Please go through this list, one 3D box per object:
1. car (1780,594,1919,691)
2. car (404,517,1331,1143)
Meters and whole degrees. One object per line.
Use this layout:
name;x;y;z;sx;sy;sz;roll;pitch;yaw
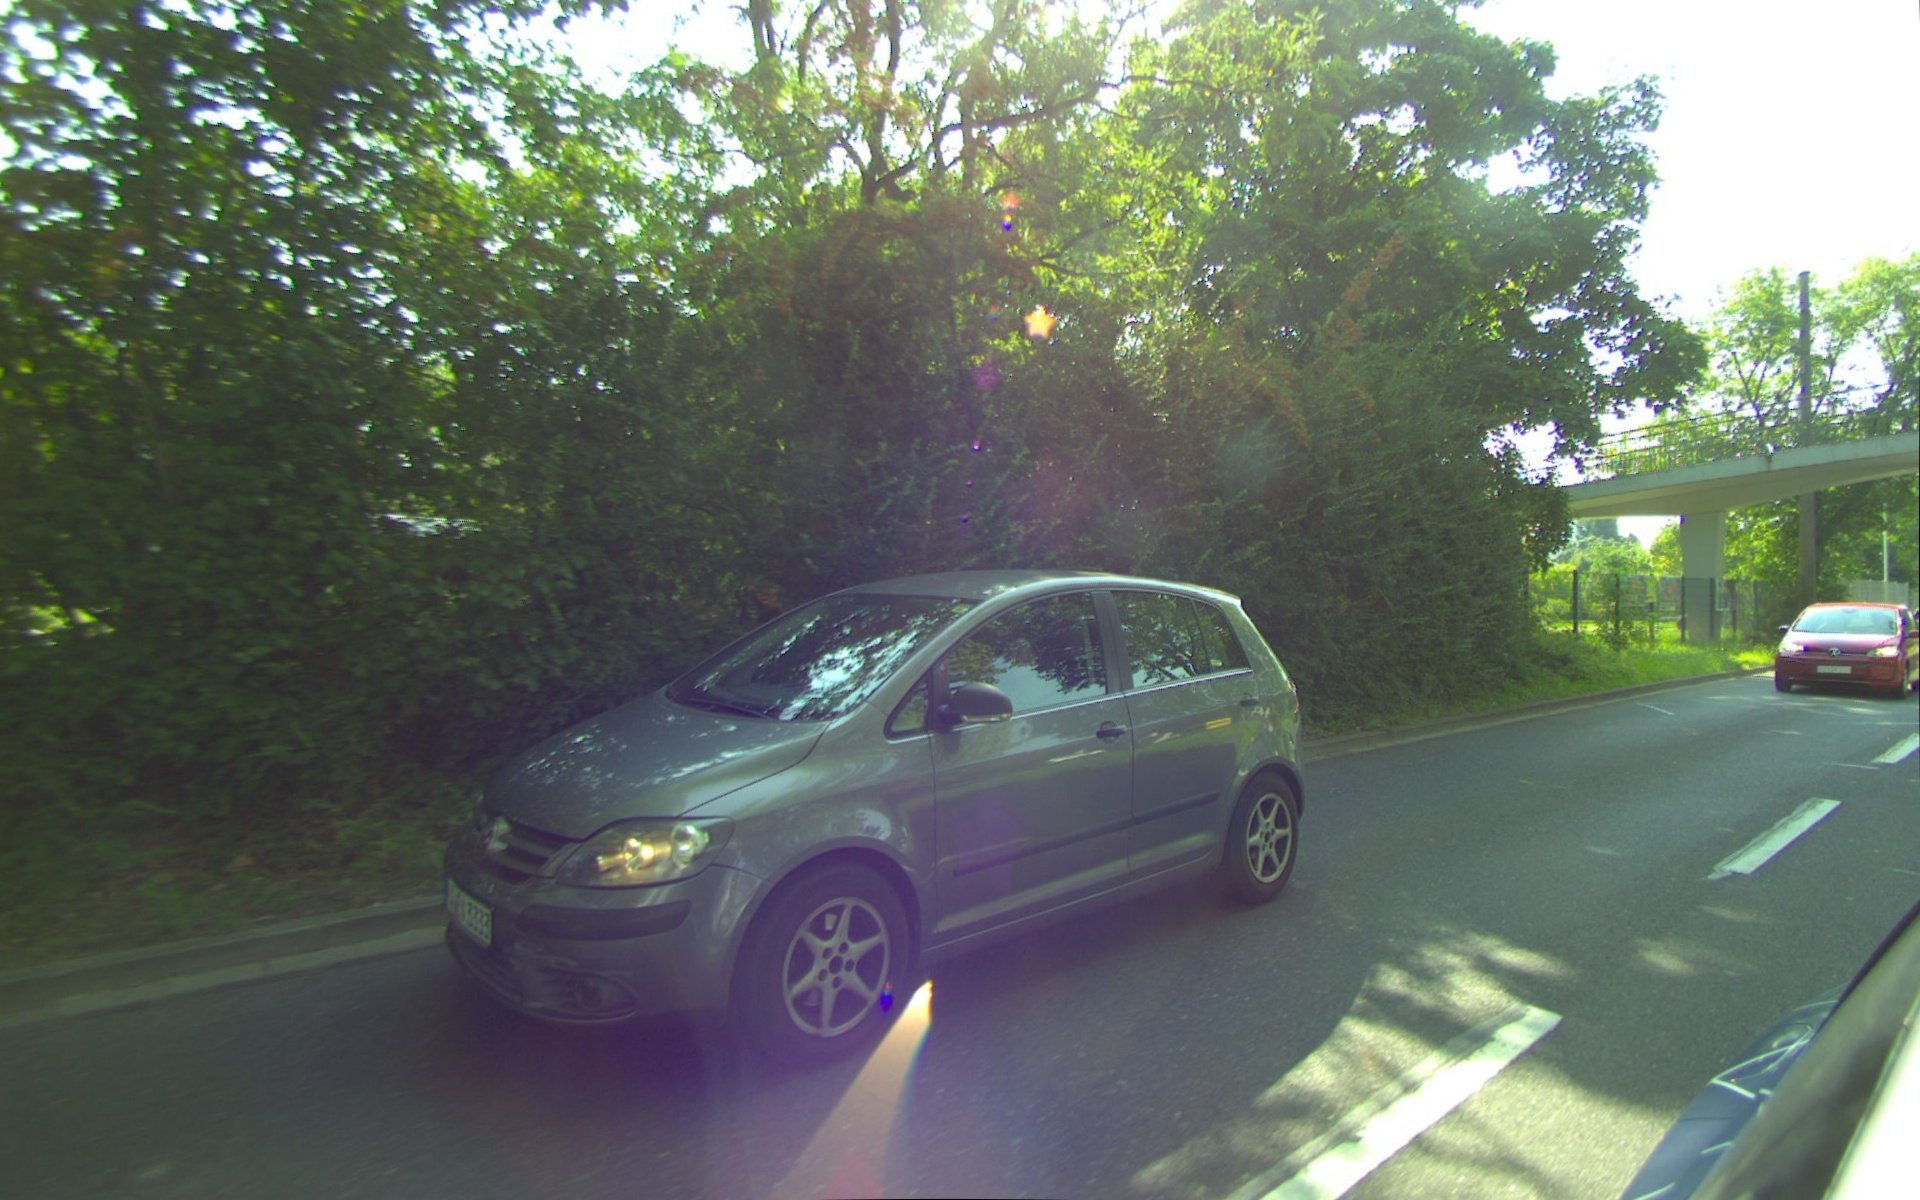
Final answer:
car;15.137;0.621;16.822;3.408;1.416;1.579;-1;1;-37
car;-0.116;0.571;4.452;3.831;1.576;1.647;-1;-1;-41
